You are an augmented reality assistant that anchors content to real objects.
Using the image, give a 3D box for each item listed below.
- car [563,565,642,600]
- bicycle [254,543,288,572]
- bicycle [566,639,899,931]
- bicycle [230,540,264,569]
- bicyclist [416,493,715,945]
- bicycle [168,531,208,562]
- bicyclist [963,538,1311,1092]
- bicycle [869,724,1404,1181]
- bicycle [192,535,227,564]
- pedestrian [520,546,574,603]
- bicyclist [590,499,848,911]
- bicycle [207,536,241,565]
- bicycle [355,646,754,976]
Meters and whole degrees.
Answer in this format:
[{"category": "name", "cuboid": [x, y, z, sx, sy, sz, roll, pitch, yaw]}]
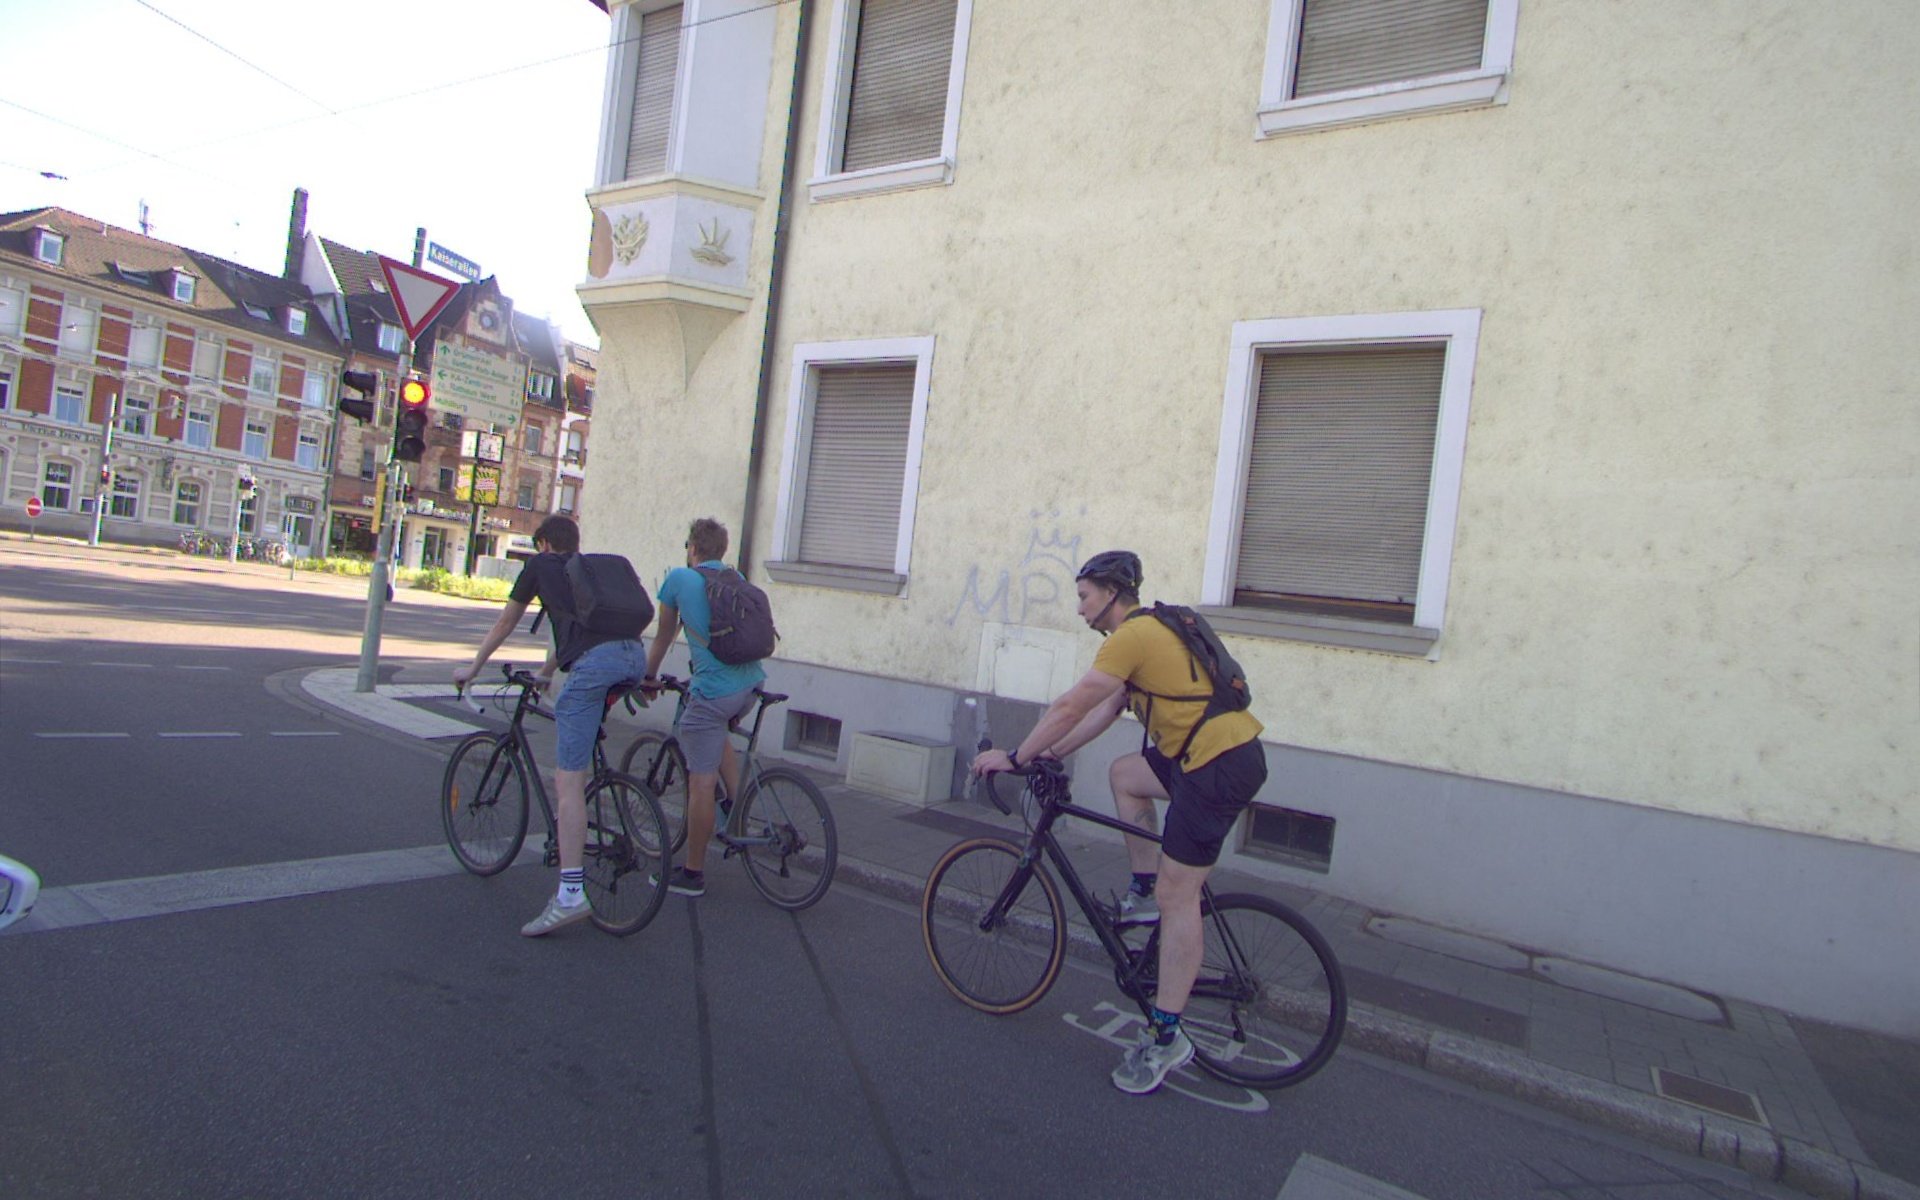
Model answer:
[{"category": "car", "cuboid": [-23.167, -1.095, 65.314, 2.116, 1.660, 4.340, 7, -1, 31]}, {"category": "bicycle", "cuboid": [-33.107, -2.049, 48.307, 2.102, 1.150, 0.609, 7, 0, 37]}, {"category": "bicycle", "cuboid": [-1.243, 0.880, 5.278, 1.784, 1.130, 0.519, 7, 0, 34]}, {"category": "bicycle", "cuboid": [-33.671, -2.143, 47.503, 2.140, 1.157, 0.618, 7, 0, 37]}, {"category": "bicyclist", "cuboid": [-1.792, 0.466, 4.543, 1.083, 1.775, 0.562, 7, 0, 34]}, {"category": "bicycle", "cuboid": [-35.053, -2.429, 45.671, 2.140, 1.157, 0.806, 7, 0, 37]}, {"category": "bicyclist", "cuboid": [0.658, 0.706, 3.747, 0.940, 1.743, 0.582, 7, 0, 32]}, {"category": "bicycle", "cuboid": [0.611, 1.162, 3.792, 1.780, 1.101, 0.611, 7, 0, 32]}, {"category": "bicycle", "cuboid": [-34.539, -2.339, 46.274, 2.140, 1.157, 0.618, 7, 0, 37]}, {"category": "pedestrian", "cuboid": [-16.558, -1.025, 40.372, 1.285, 2.068, 1.321, 7, 0, 31]}, {"category": "bicyclist", "cuboid": [-1.259, 0.493, 5.243, 0.961, 1.917, 0.602, 6, -1, 34]}, {"category": "bicycle", "cuboid": [-34.204, -2.291, 46.751, 2.140, 1.157, 0.618, 7, 0, 37]}, {"category": "bicycle", "cuboid": [-1.903, 0.848, 4.588, 1.897, 1.023, 0.645, 7, 0, 34]}]
